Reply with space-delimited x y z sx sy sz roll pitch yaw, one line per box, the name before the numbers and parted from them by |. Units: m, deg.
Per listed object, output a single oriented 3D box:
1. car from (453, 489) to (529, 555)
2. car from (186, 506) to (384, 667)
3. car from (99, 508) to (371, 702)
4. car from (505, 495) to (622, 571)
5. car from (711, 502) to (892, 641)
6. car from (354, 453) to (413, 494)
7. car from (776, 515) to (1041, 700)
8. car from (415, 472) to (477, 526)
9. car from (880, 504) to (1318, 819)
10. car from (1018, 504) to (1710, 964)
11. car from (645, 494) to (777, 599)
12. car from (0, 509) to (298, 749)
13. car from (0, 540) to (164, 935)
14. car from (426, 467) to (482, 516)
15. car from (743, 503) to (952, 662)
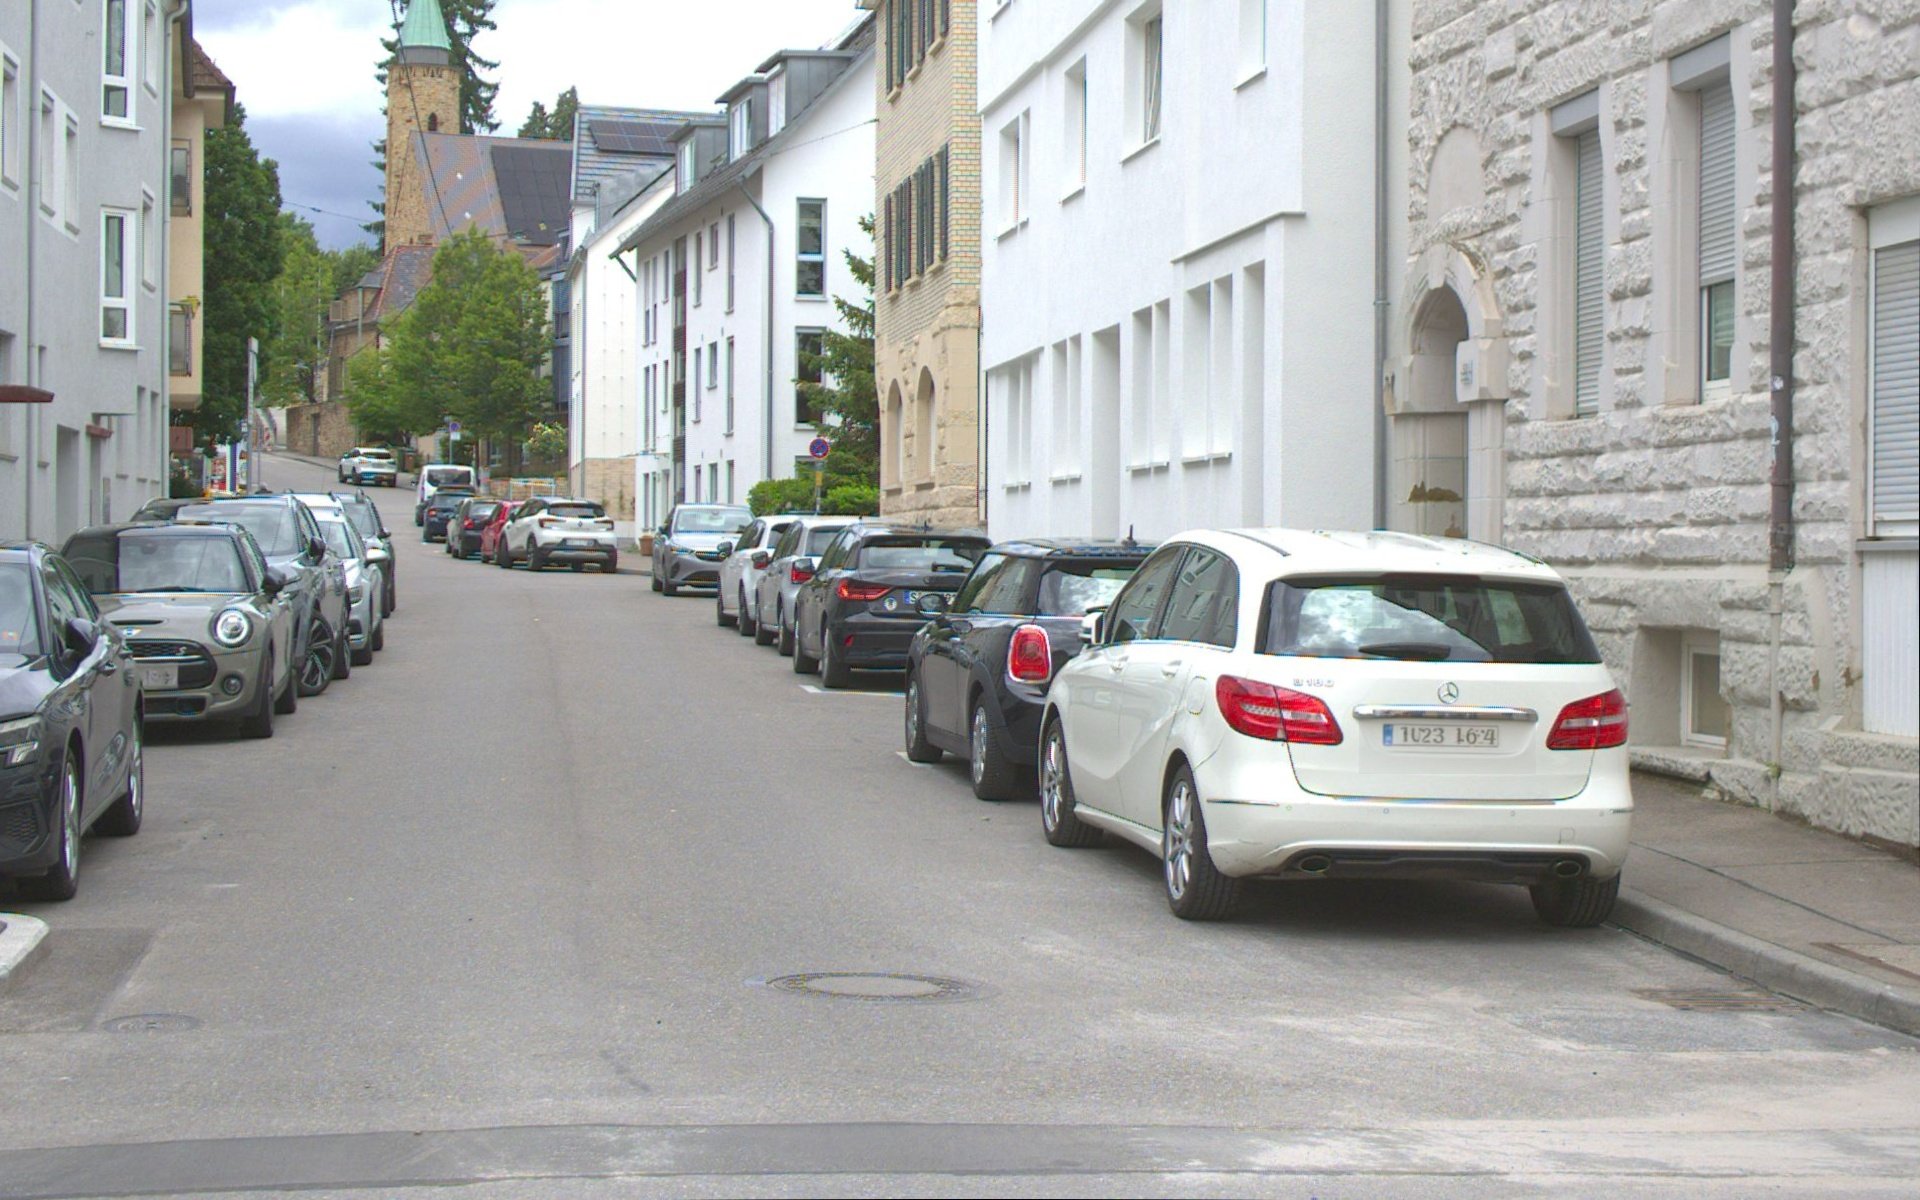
car | -11.311 -1.885 82.816 1.667 1.474 3.627 1 2 -10
car | -6.516 -0.176 33.469 1.730 1.443 3.720 0 2 -9
car | -5.894 -0.011 28.322 1.730 1.464 3.720 0 2 -5
car | -8.319 -1.412 71.884 1.783 1.474 3.627 1 2 -17
car | -1.937 -0.376 41.079 1.667 1.474 3.627 2 2 -10
car | -25.035 -5.487 149.162 2.181 1.687 3.627 1 2 -15
car | -0.522 0.015 30.109 1.667 1.380 4.029 2 2 -10
car | -14.854 -2.924 99.292 1.667 1.474 3.627 1 2 -10
car | 0.686 0.273 19.919 1.667 1.527 4.029 2 2 -10
car | 1.550 0.456 14.781 1.819 1.593 4.029 2 2 -10
car | -3.939 -0.864 53.940 1.667 1.474 3.627 2 2 -10
car | -5.505 0.129 23.628 1.730 1.484 3.720 0 2 -9
car | -4.499 0.474 14.676 1.819 1.386 4.299 0 2 -9
car | -16.332 -3.507 110.822 1.667 1.474 3.627 1 2 -10
car | -1.240 -0.219 36.313 1.667 1.474 3.627 2 2 -10
